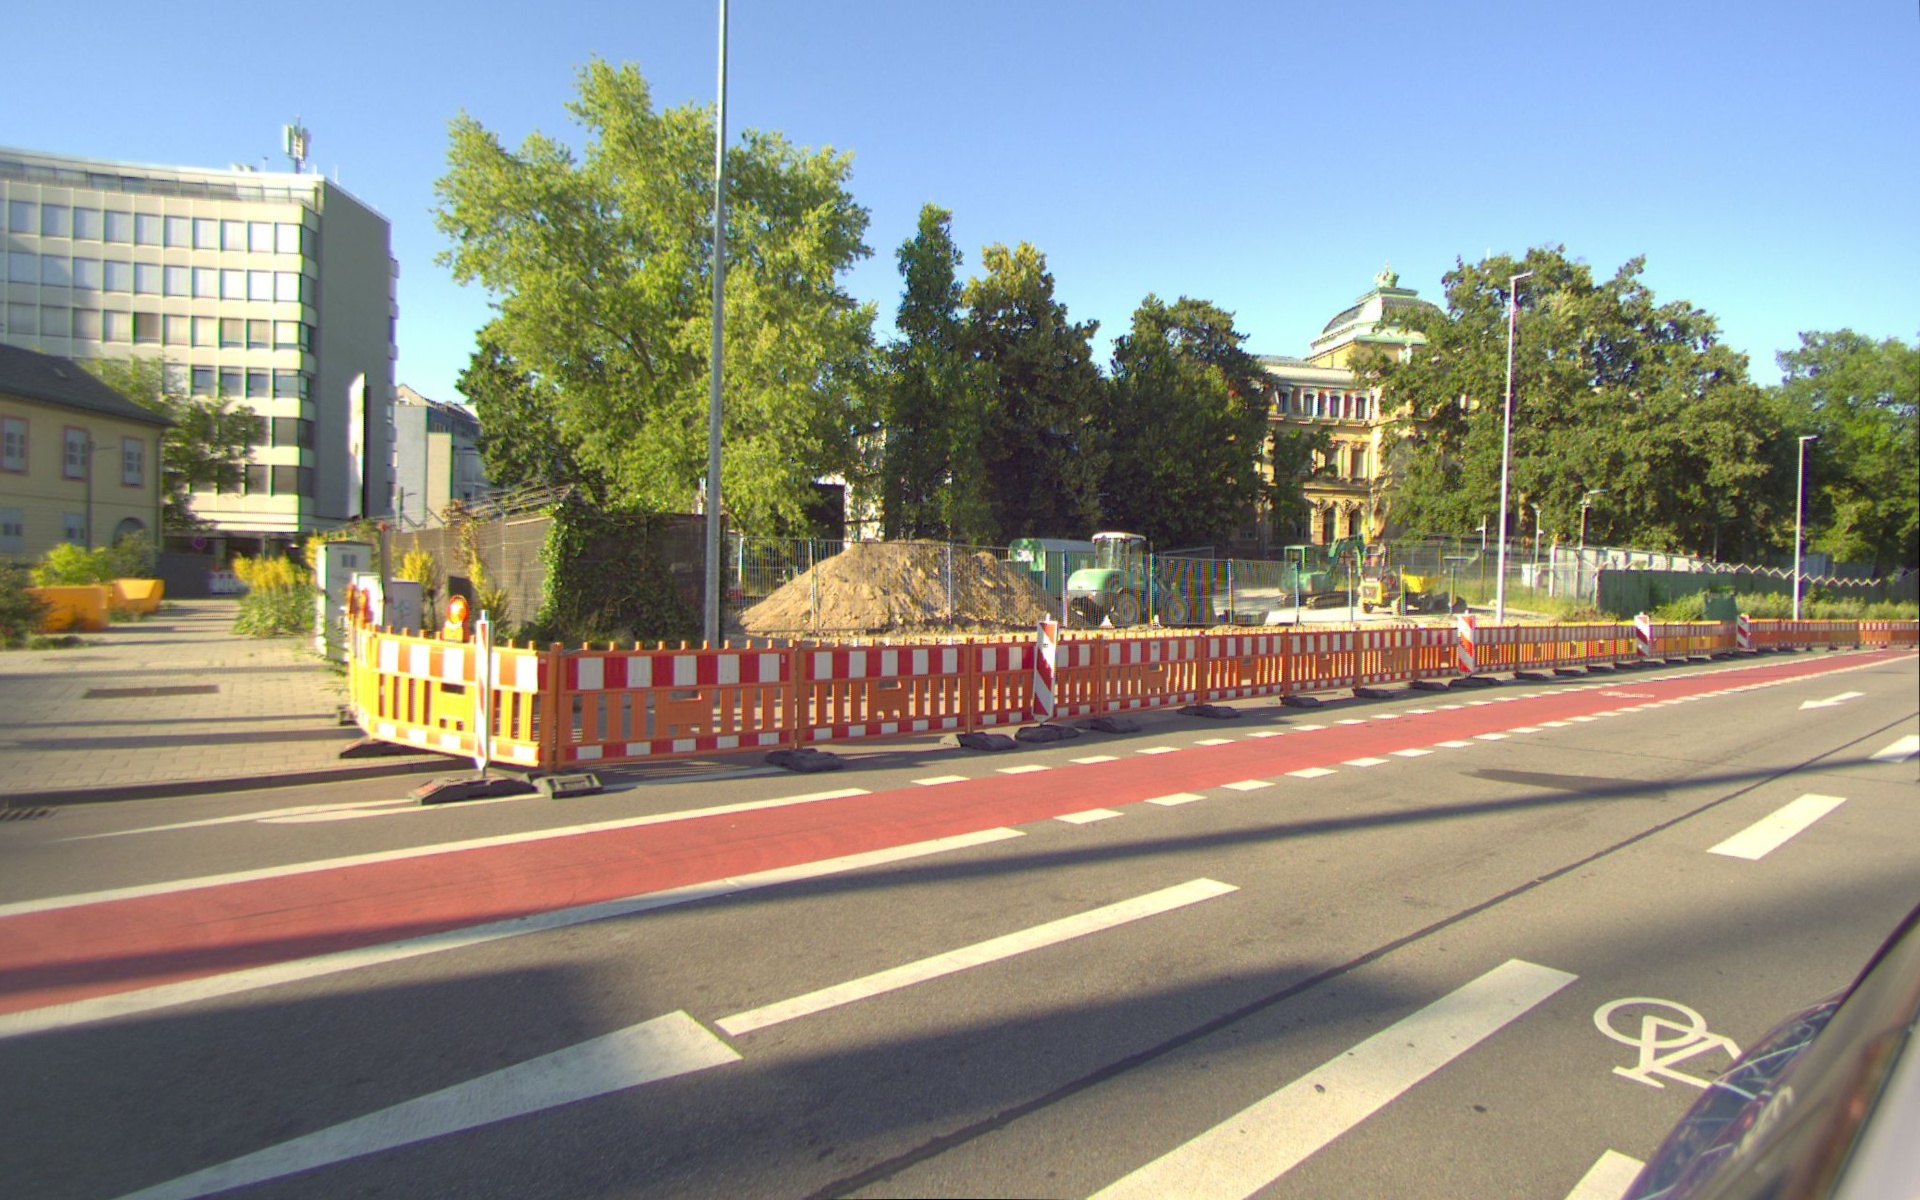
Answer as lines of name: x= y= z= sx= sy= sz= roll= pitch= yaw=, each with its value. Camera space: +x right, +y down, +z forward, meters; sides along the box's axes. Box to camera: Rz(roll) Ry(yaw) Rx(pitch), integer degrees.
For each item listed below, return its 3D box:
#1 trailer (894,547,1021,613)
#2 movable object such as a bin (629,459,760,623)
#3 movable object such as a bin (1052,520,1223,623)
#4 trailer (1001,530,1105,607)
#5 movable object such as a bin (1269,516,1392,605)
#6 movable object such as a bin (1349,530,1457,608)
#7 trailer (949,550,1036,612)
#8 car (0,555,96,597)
trailer: x=-0.162 y=-0.874 z=40.313 sx=2.189 sy=2.349 sz=5.037 roll=-7 pitch=7 yaw=-43
movable object such as a bin: x=-6.751 y=-1.390 z=25.818 sx=2.801 sy=3.602 sz=6.095 roll=1 pitch=1 yaw=-15
movable object such as a bin: x=5.189 y=-0.790 z=29.310 sx=4.855 sy=2.737 sz=2.280 roll=0 pitch=1 yaw=-41
trailer: x=4.174 y=-1.476 z=45.143 sx=3.923 sy=3.126 sz=2.612 roll=-7 pitch=7 yaw=-43
movable object such as a bin: x=15.992 y=-1.622 z=43.601 sx=5.395 sy=3.602 sz=2.283 roll=1 pitch=1 yaw=-36
movable object such as a bin: x=17.480 y=-1.188 z=39.909 sx=3.922 sy=2.940 sz=2.001 roll=1 pitch=1 yaw=-33
trailer: x=1.362 y=-0.862 z=42.835 sx=2.189 sy=2.349 sz=2.950 roll=-7 pitch=7 yaw=-43
car: x=-36.774 y=-0.969 z=39.913 sx=1.962 sy=1.593 sz=4.001 roll=1 pitch=1 yaw=0
